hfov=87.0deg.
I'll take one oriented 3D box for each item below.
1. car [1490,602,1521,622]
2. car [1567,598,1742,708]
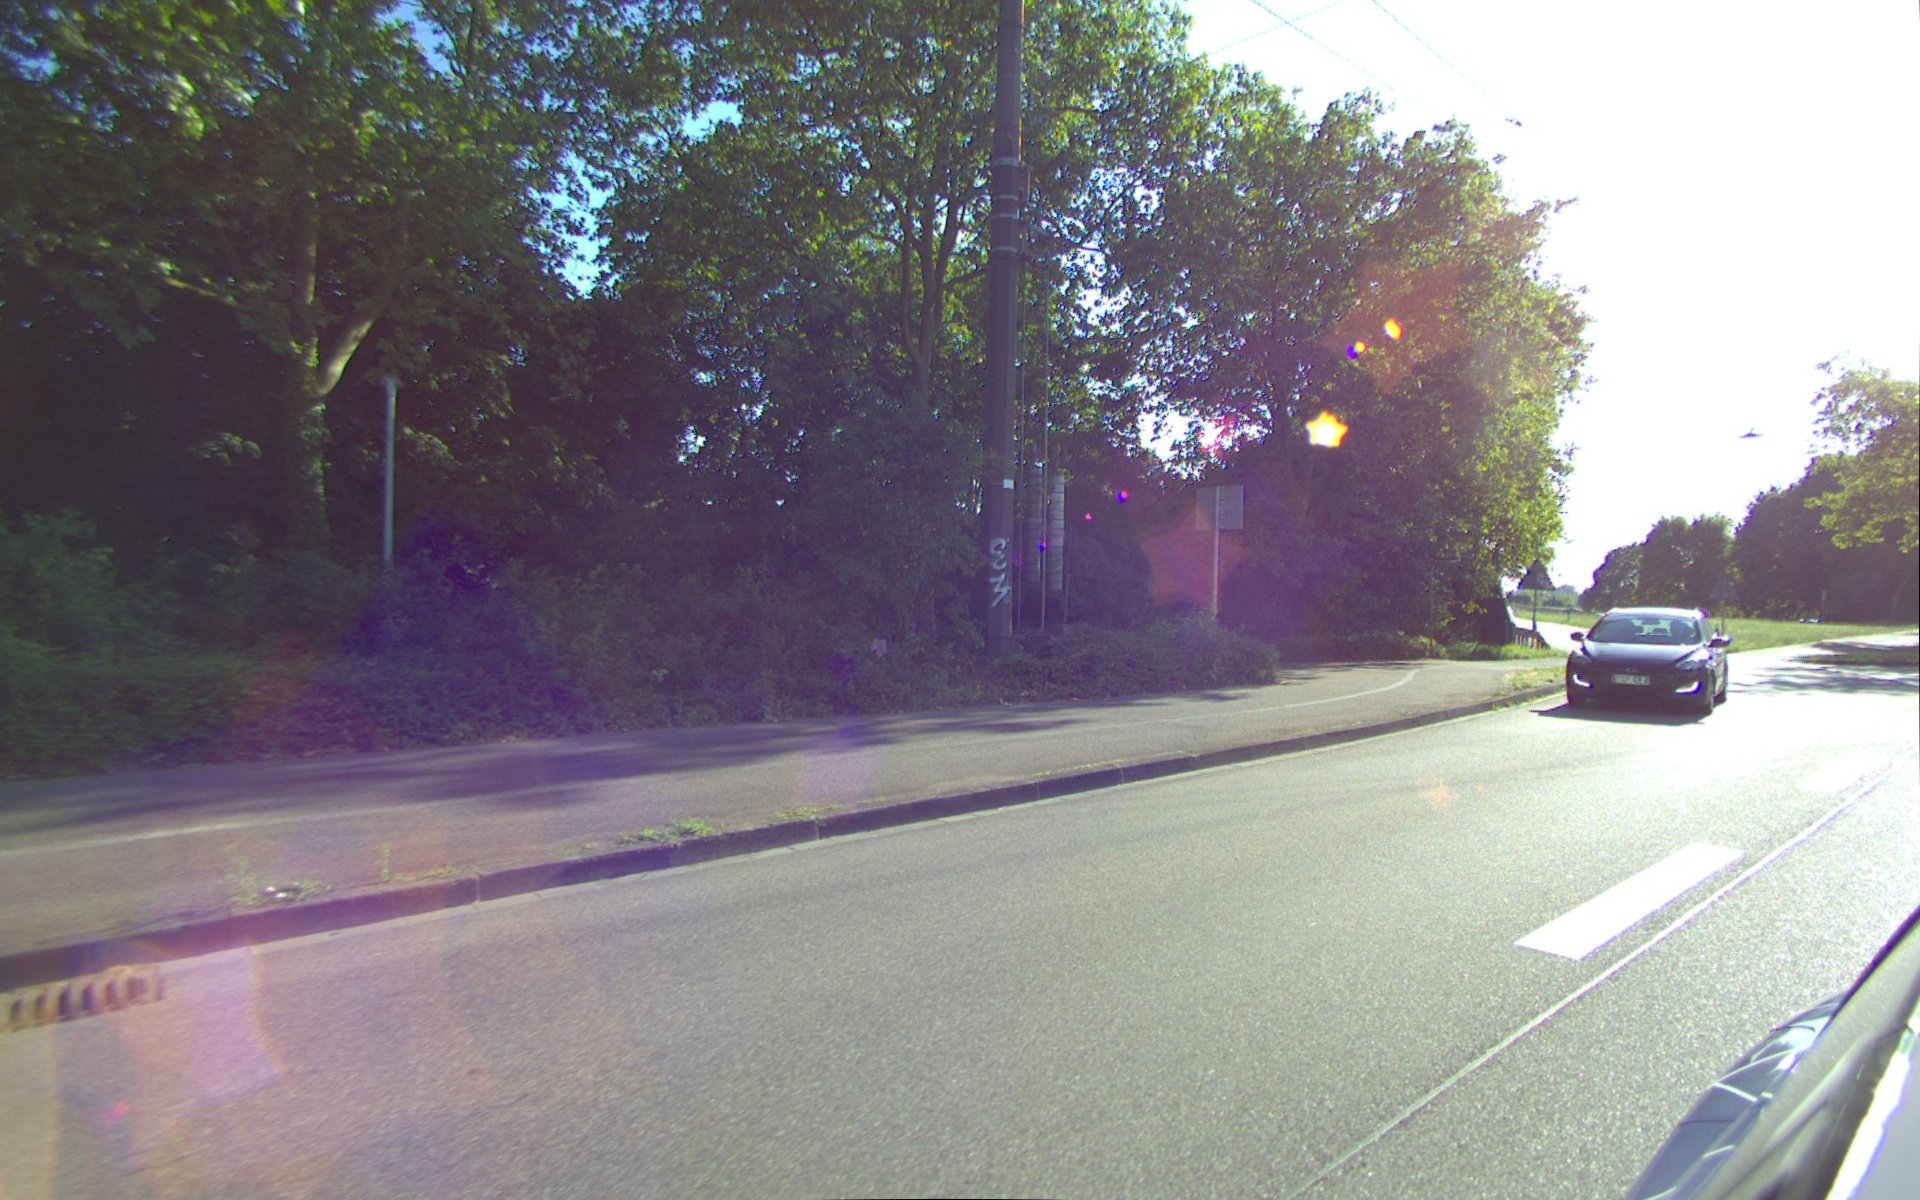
[{"bbox_3d":[42.564,0.910,79.049,1.779,1.458,4.189,0,0,24],"label":"car"},{"bbox_3d":[10.813,0.701,15.638,1.791,1.458,4.161,0,0,41],"label":"car"}]
